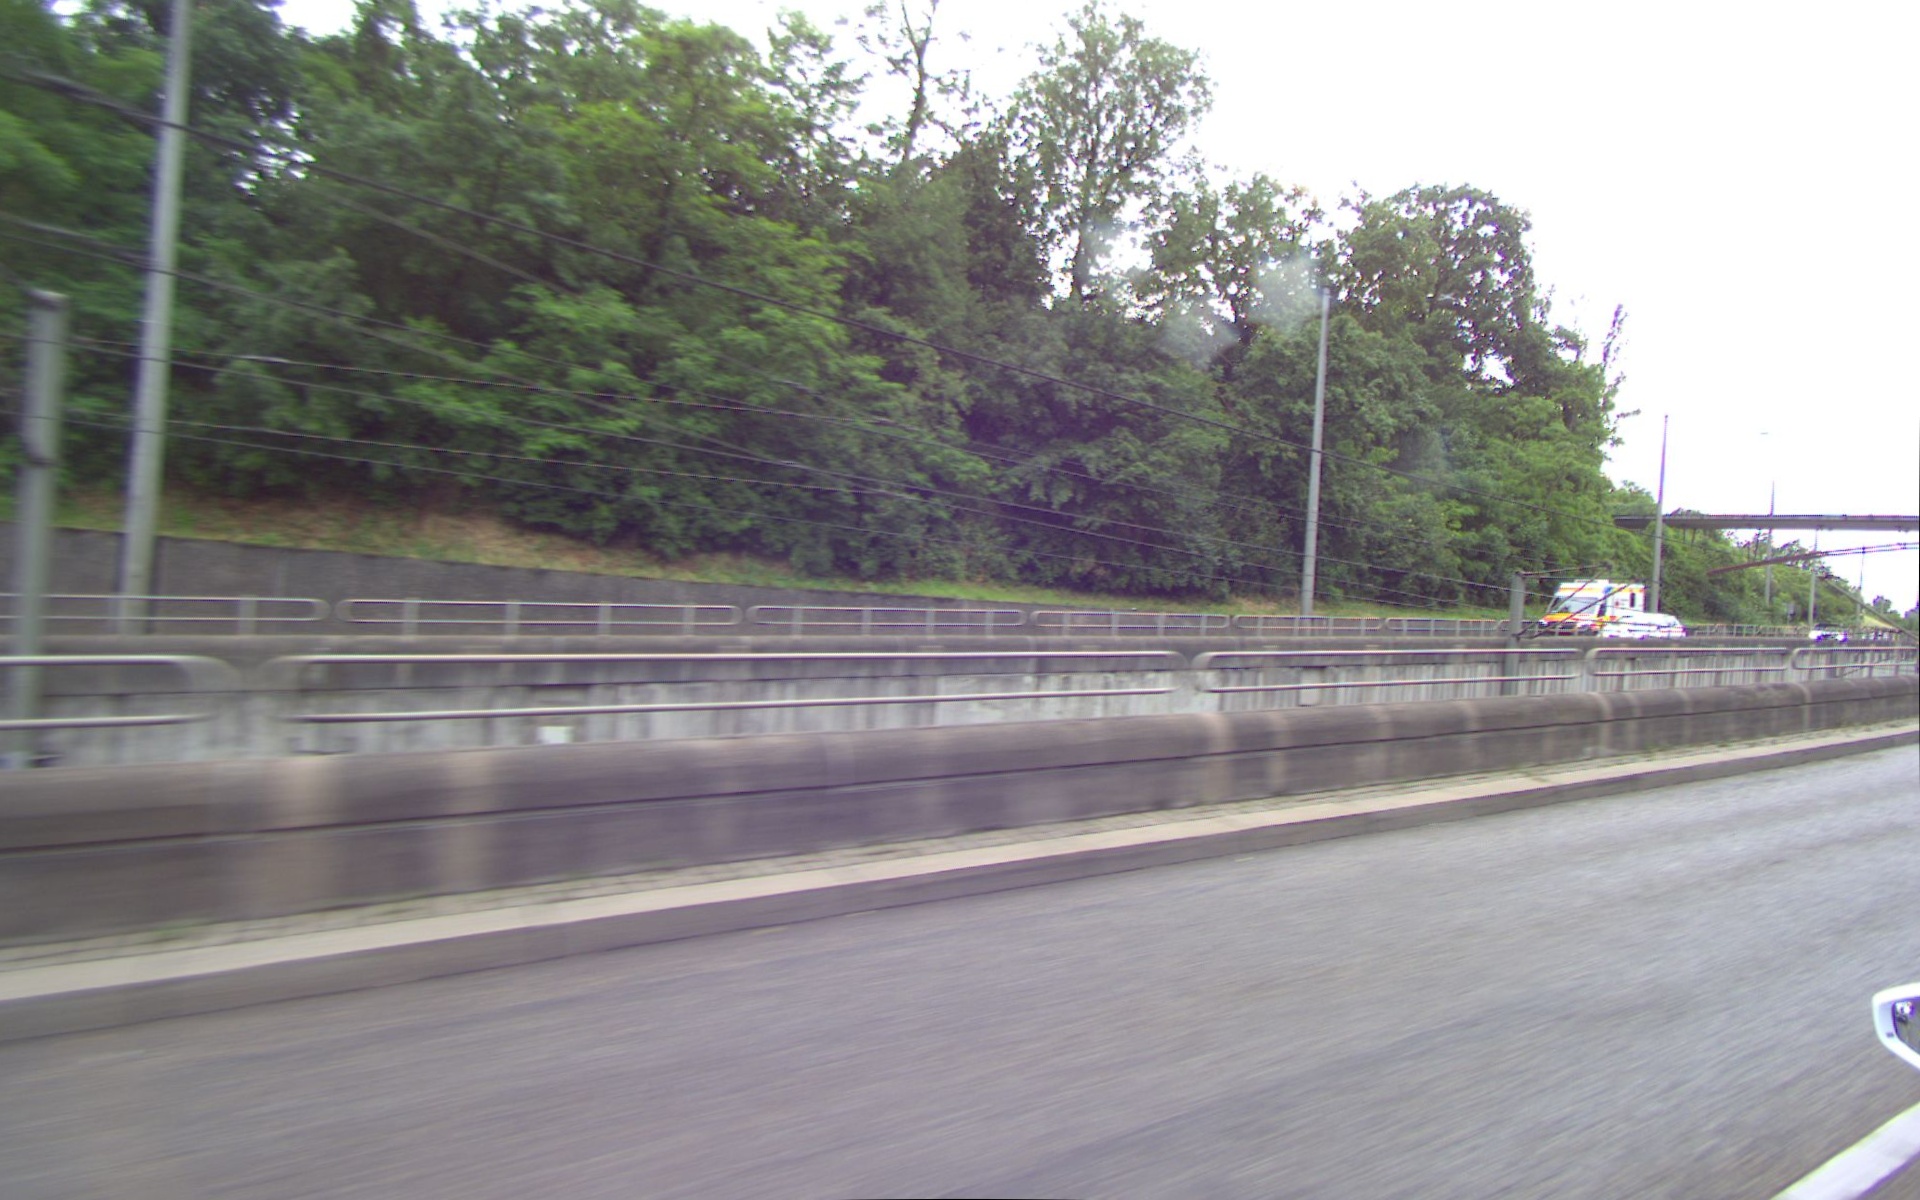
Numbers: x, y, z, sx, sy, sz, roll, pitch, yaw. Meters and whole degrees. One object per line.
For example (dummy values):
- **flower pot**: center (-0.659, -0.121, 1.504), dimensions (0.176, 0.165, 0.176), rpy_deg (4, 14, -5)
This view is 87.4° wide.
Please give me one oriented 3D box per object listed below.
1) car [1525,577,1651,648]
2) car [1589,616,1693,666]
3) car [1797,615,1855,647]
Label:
- **car**: center (26.329, 0.585, 42.007), dimensions (6.281, 2.770, 2.168), rpy_deg (2, -1, -35)
- **car**: center (24.909, 1.490, 36.696), dimensions (4.070, 1.726, 1.806), rpy_deg (2, -1, -35)
- **car**: center (51.309, 1.858, 59.488), dimensions (4.107, 1.773, 1.945), rpy_deg (2, -1, -40)
